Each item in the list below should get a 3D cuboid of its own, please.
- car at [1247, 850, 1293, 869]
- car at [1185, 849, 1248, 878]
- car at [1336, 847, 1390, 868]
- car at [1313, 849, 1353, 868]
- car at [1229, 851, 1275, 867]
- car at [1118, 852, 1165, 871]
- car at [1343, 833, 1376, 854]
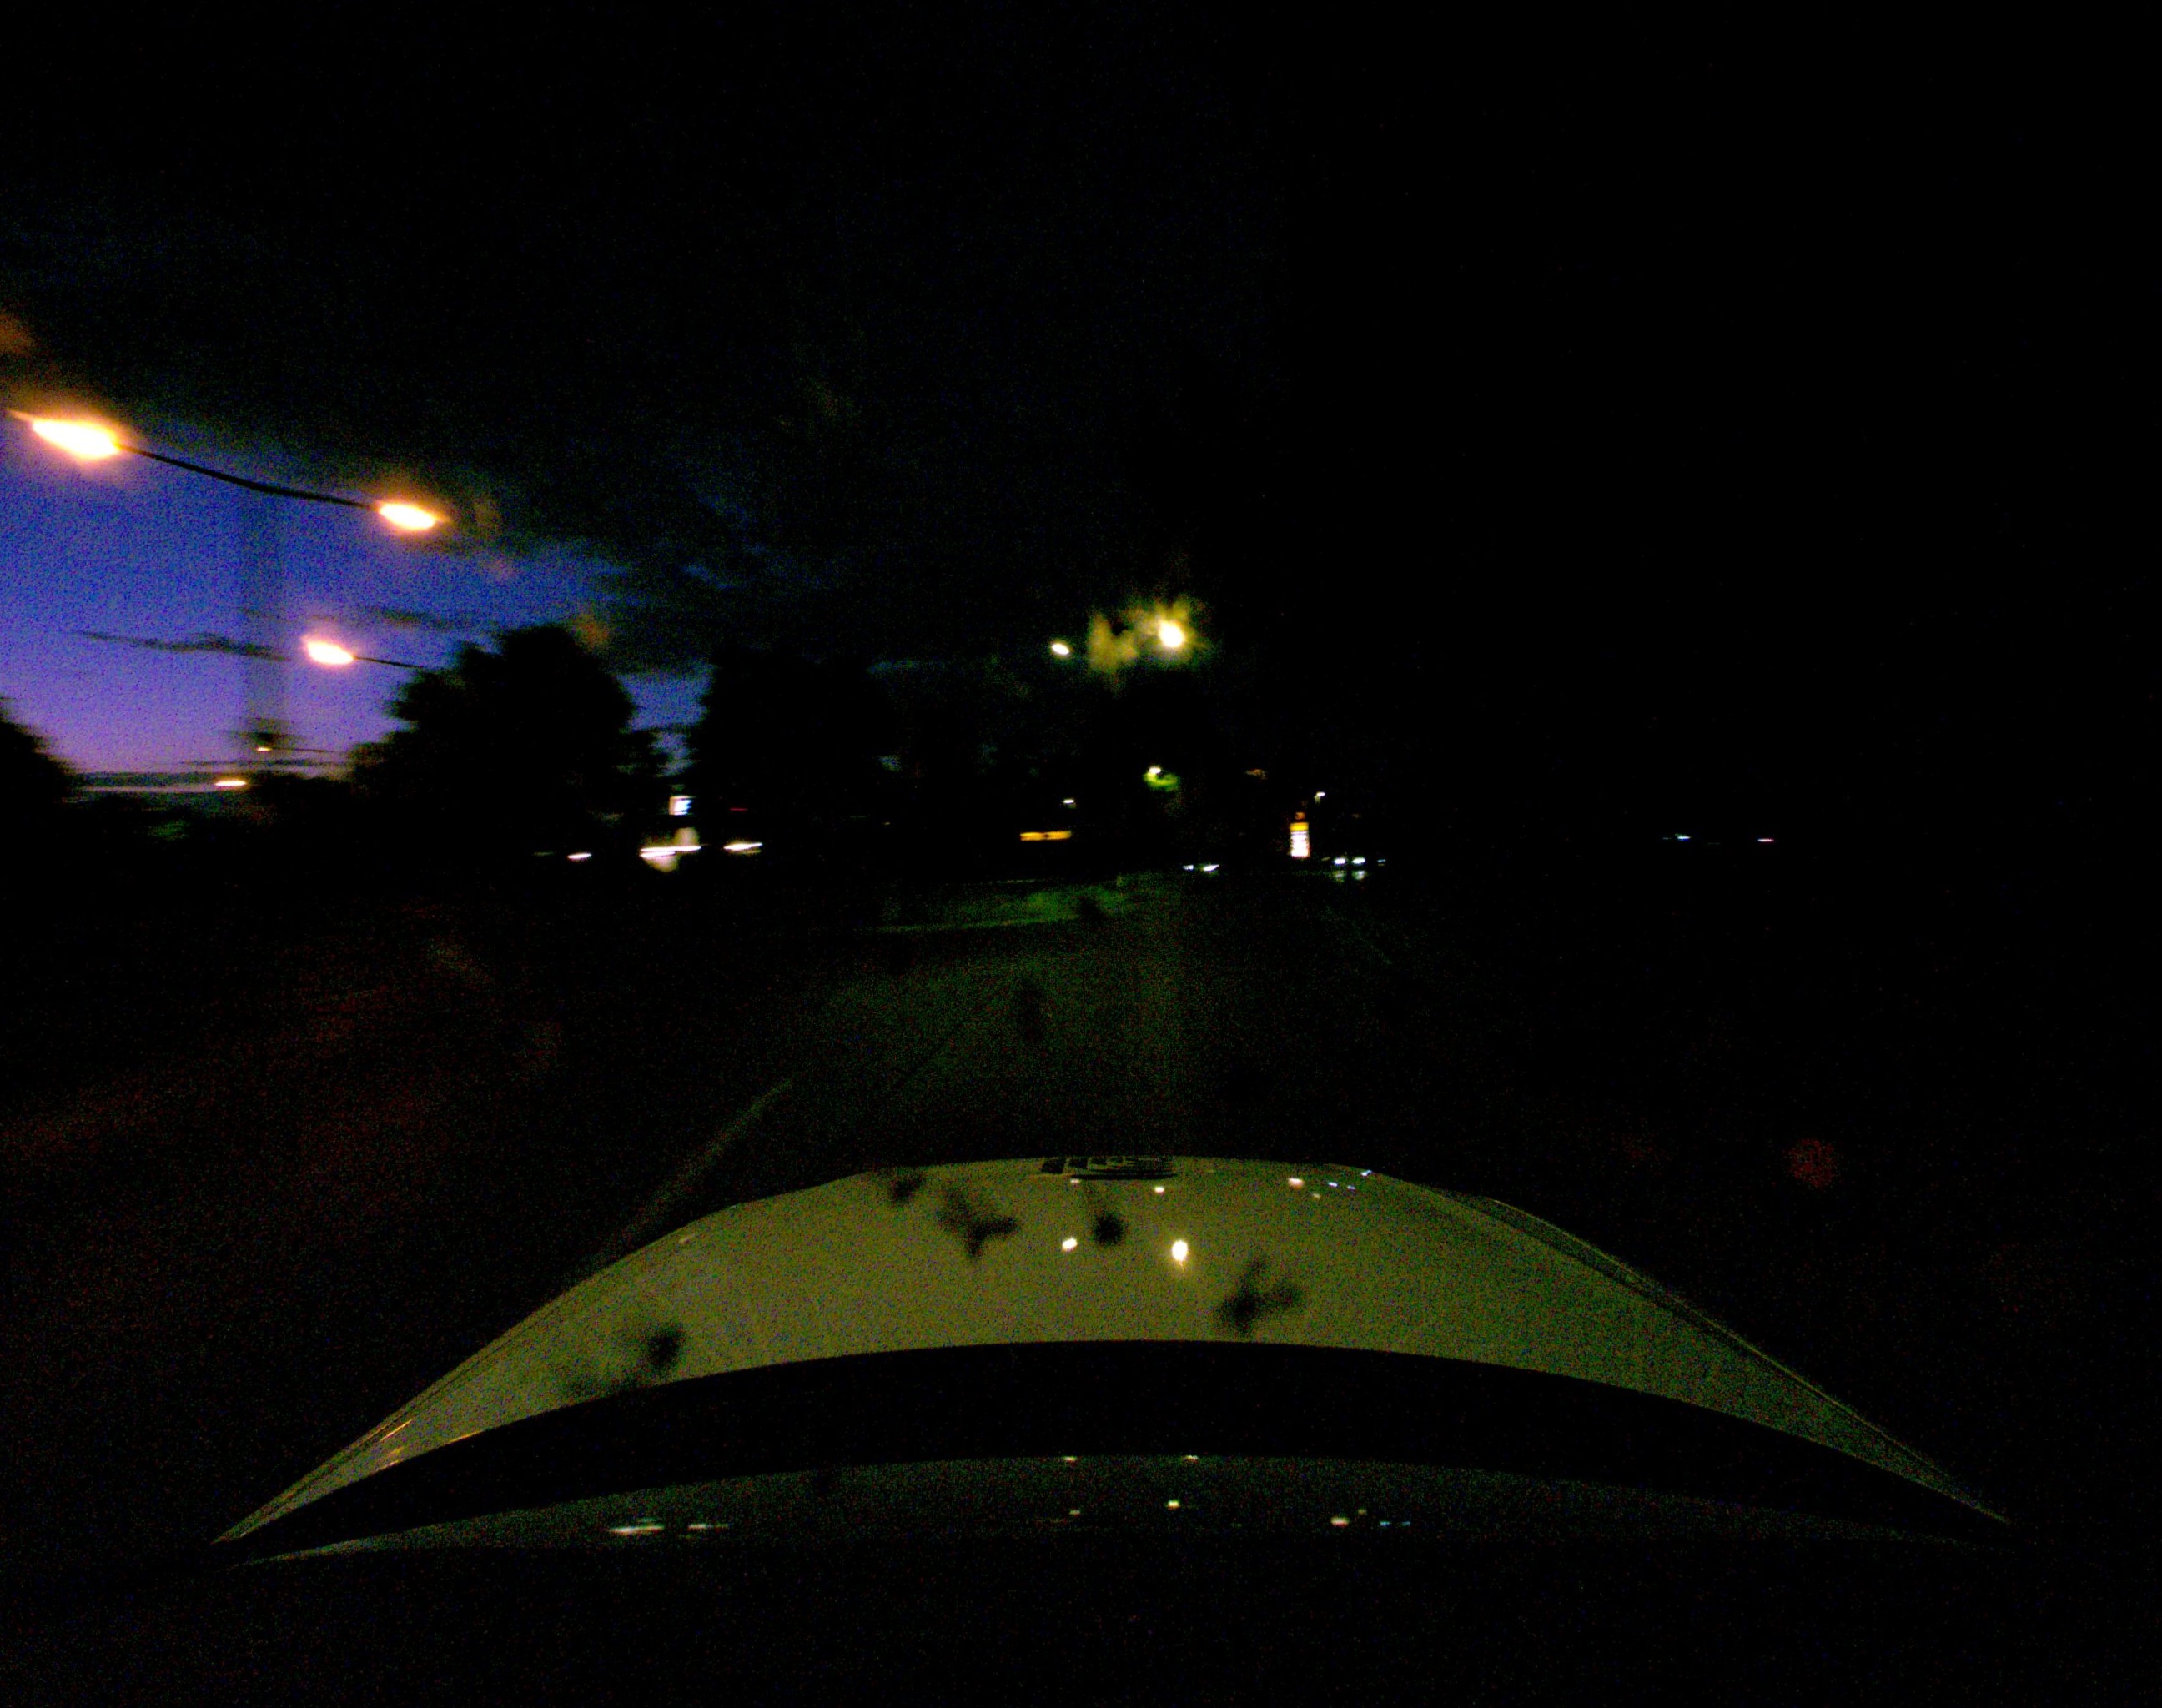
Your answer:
[{"bbox_3d":[15.479,0.448,66.605,3.711,1.420,1.534,-1,1,-31],"label":"car"},{"bbox_3d":[7.232,0.479,43.043,1.742,1.445,4.556,0,0,31],"label":"car"},{"bbox_3d":[20.364,0.229,58.656,4.613,1.403,1.743,-1,0,-44],"label":"car"},{"bbox_3d":[22.687,0.358,73.122,1.738,1.607,4.480,-1,0,41],"label":"car"},{"bbox_3d":[14.354,0.398,68.403,3.711,1.311,1.534,-1,1,-31],"label":"car"},{"bbox_3d":[4.865,0.600,66.121,3.468,1.359,1.506,-3,-2,34],"label":"car"},{"bbox_3d":[29.621,-1.124,86.573,1.975,2.013,4.025,2,3,42],"label":"car"}]
